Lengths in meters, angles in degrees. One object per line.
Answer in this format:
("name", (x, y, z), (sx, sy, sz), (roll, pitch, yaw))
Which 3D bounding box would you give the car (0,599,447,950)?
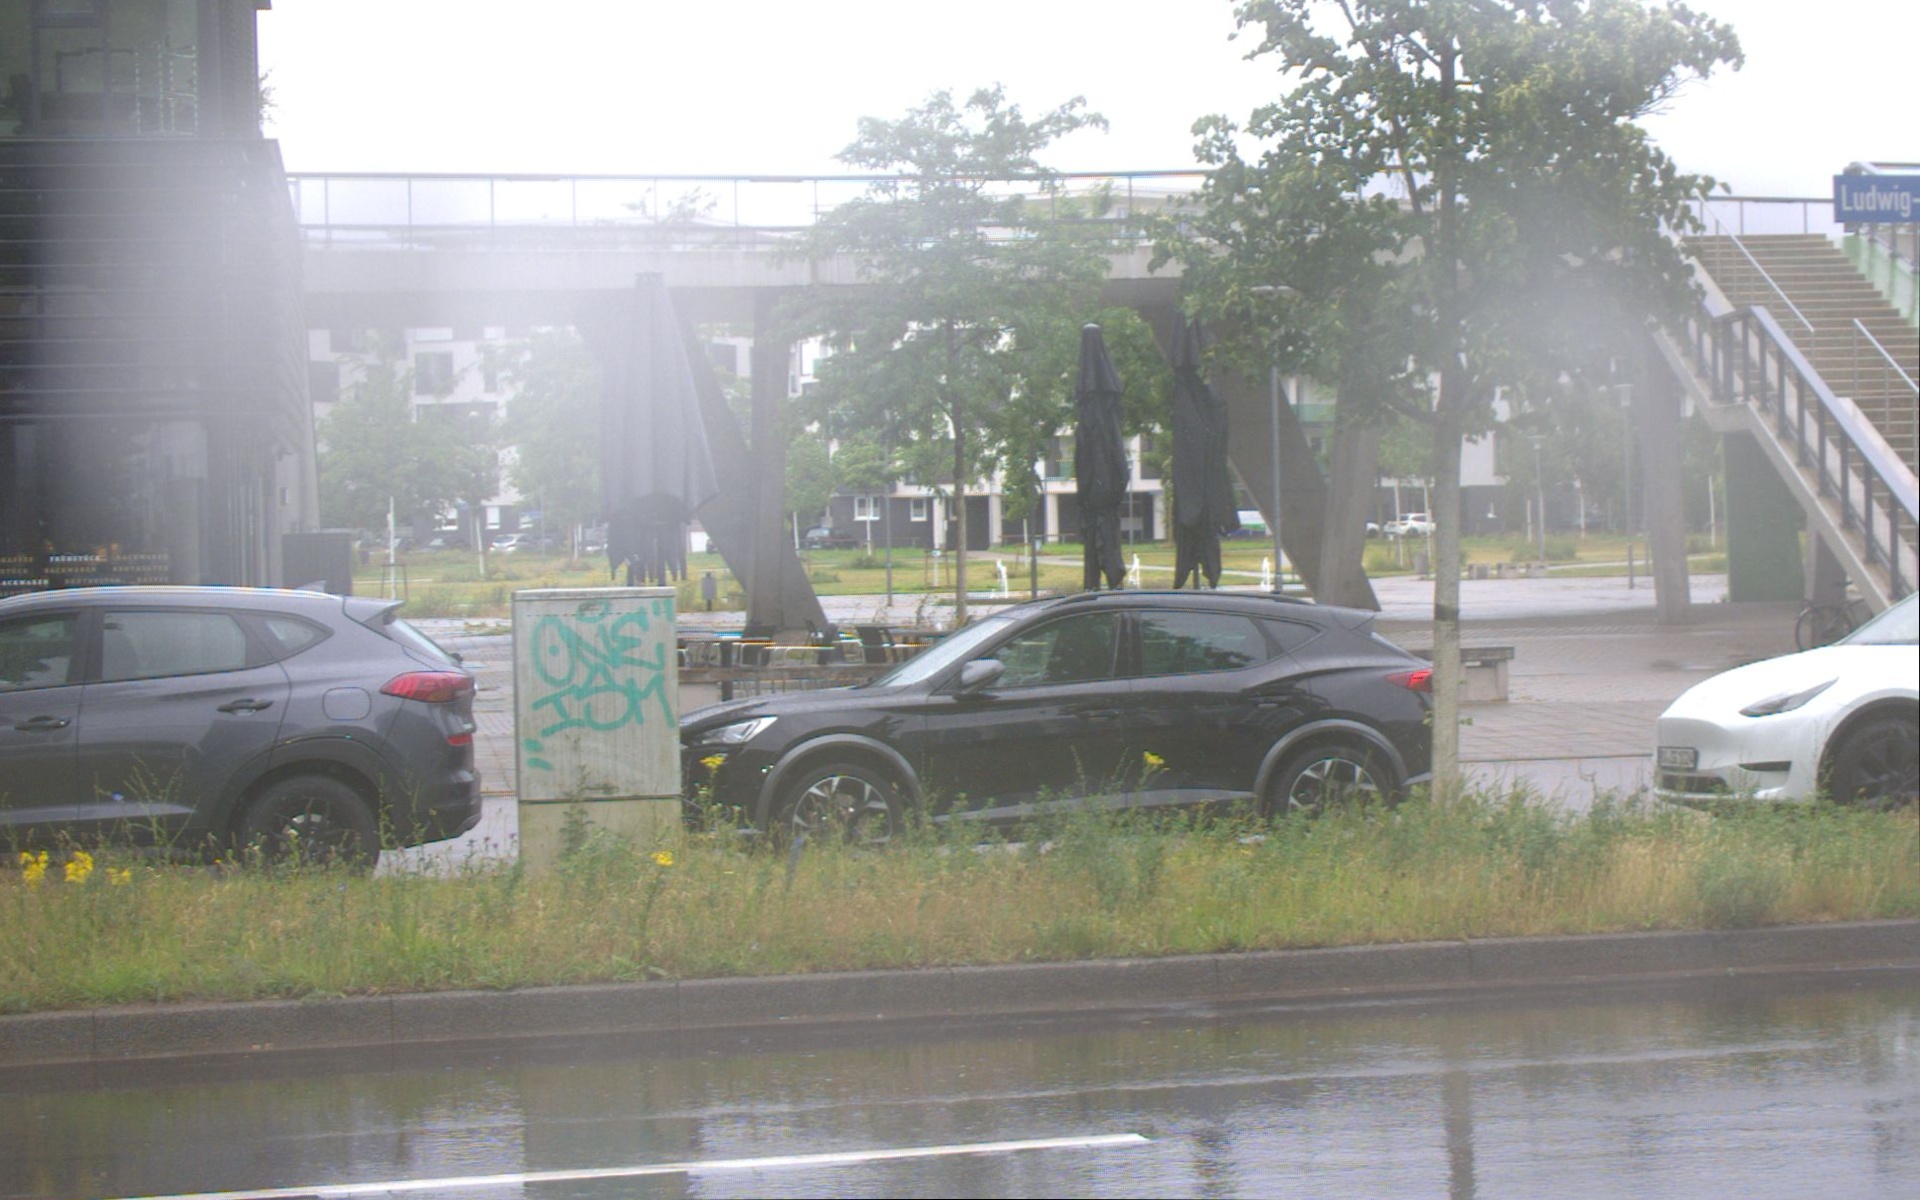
("car", (-4.842, 0.861, 17.911), (4.202, 1.701, 2.001), (1, 0, -11))

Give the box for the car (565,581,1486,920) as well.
("car", (0.283, 0.781, 18.802), (4.707, 1.701, 2.001), (1, 0, -11))

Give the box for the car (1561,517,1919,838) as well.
("car", (6.094, 0.425, 19.641), (4.821, 1.701, 2.001), (1, 0, -11))
